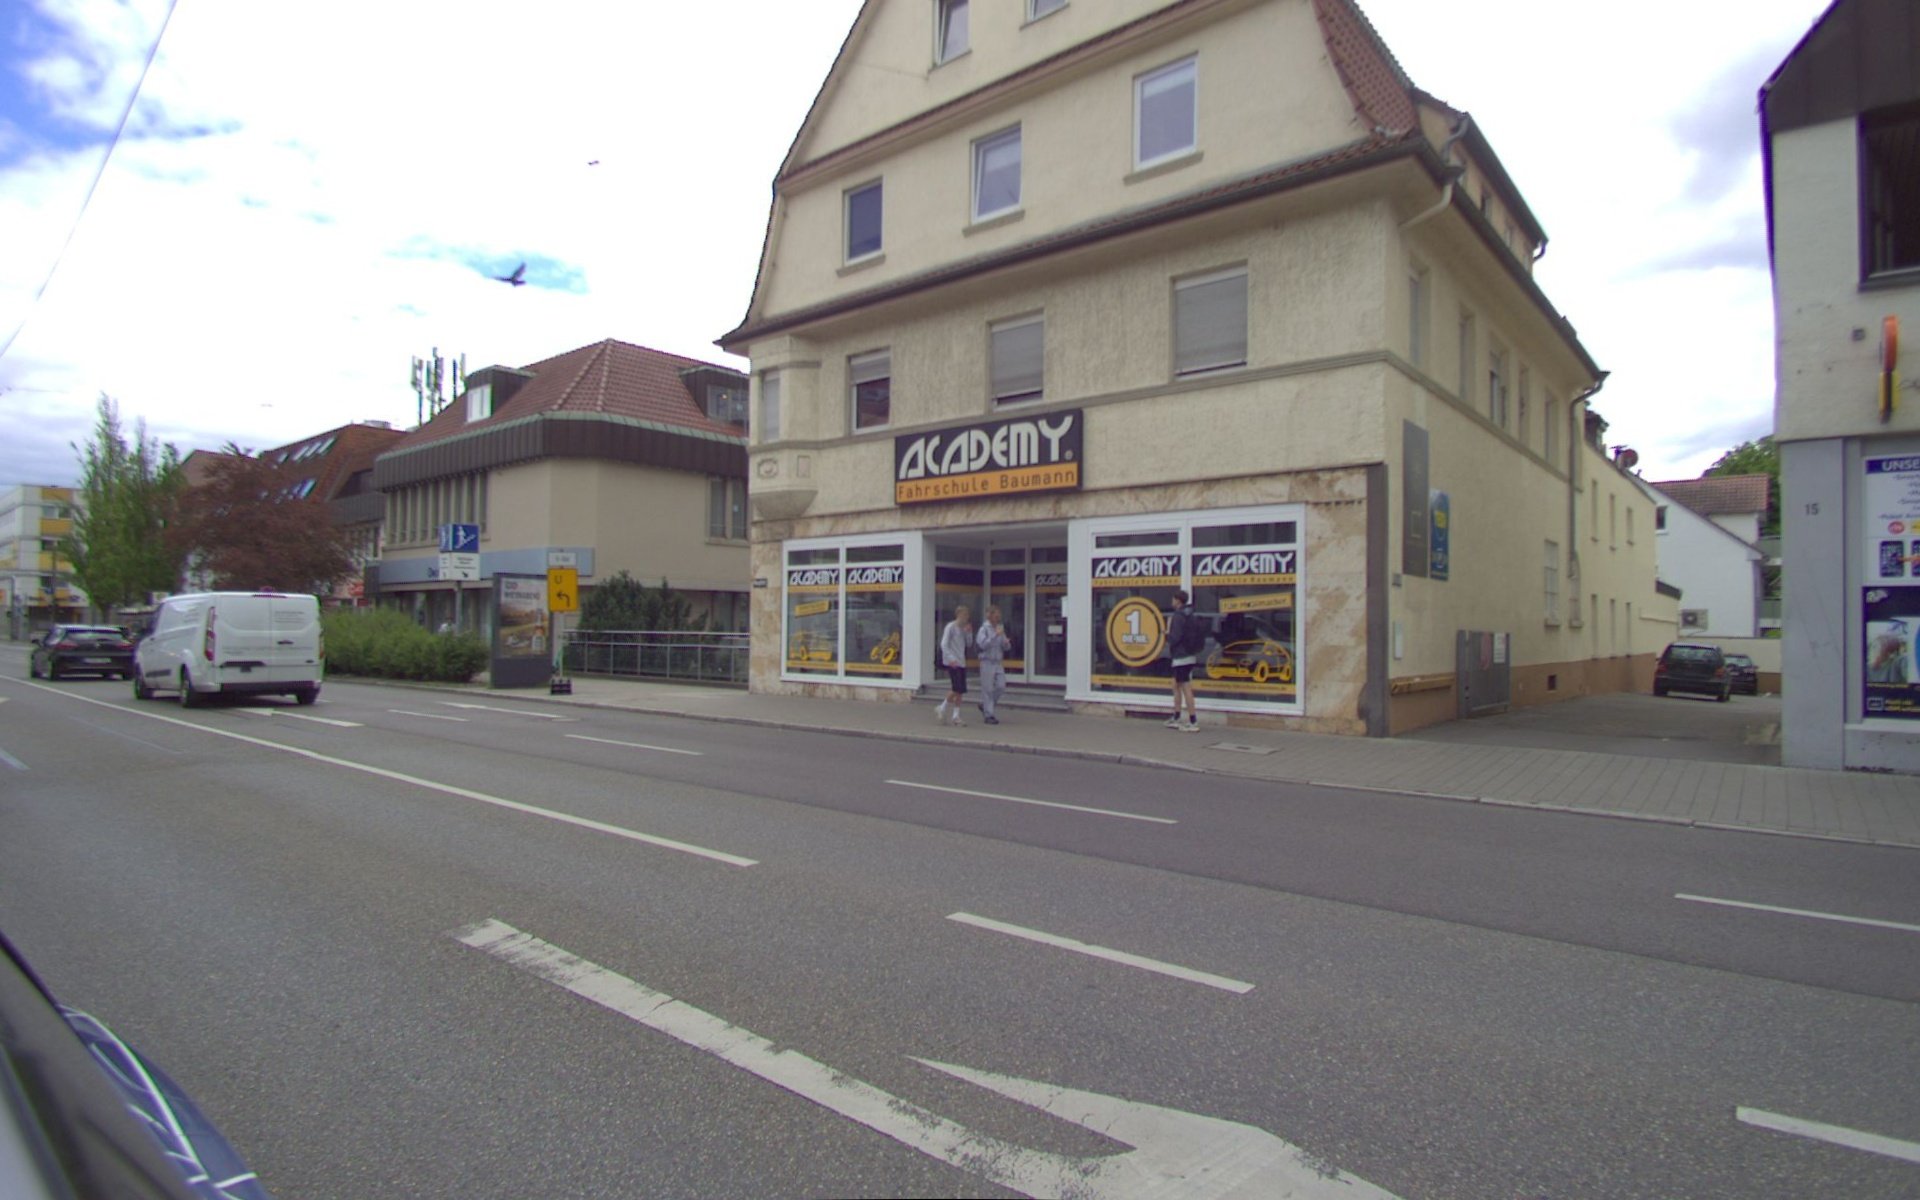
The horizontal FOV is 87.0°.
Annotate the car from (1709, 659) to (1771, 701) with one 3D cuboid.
[{"bbox_3d":[30.066,3.039,38.976,1.764,1.439,3.871,-2,-3,39],"label":"car"}]

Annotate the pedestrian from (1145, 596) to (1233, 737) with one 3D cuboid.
[{"bbox_3d":[3.025,0.848,13.343,0.804,1.760,0.859,-2,0,36],"label":"pedestrian"}]

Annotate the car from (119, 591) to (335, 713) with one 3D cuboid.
[{"bbox_3d":[-13.652,0.930,18.721,5.135,1.976,1.942,-1,-4,40],"label":"car"}]

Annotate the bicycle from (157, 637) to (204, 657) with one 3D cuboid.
[{"bbox_3d":[-44.059,2.629,57.220,0.648,1.098,2.000,-1,-2,35],"label":"bicycle"}]

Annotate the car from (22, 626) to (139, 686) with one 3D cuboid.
[{"bbox_3d":[-22.883,1.429,26.297,3.918,1.439,1.601,-2,-3,39],"label":"car"}]

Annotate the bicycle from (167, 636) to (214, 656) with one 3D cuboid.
[{"bbox_3d":[-43.107,2.579,56.716,0.646,1.098,2.003,-1,-2,31],"label":"bicycle"}]

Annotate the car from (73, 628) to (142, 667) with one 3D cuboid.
[{"bbox_3d":[-35.052,1.935,41.585,3.505,1.535,1.600,-2,-4,41],"label":"car"}]

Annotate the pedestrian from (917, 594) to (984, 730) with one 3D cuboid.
[{"bbox_3d":[-0.129,0.850,14.086,0.680,1.838,0.627,-2,-3,40],"label":"pedestrian"}]

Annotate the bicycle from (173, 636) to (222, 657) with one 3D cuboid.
[{"bbox_3d":[-41.724,2.535,55.407,0.646,1.098,2.003,-1,-2,31],"label":"bicycle"}]

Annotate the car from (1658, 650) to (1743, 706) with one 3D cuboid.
[{"bbox_3d":[21.155,2.161,28.849,1.764,1.439,3.871,-2,-3,39],"label":"car"}]

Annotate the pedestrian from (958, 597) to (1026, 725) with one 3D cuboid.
[{"bbox_3d":[0.454,0.852,14.504,0.680,1.775,0.680,-2,-1,40],"label":"pedestrian"}]

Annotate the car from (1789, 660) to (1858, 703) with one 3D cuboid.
[{"bbox_3d":[31.796,2.965,37.354,1.764,1.439,3.871,-2,-3,39],"label":"car"}]
